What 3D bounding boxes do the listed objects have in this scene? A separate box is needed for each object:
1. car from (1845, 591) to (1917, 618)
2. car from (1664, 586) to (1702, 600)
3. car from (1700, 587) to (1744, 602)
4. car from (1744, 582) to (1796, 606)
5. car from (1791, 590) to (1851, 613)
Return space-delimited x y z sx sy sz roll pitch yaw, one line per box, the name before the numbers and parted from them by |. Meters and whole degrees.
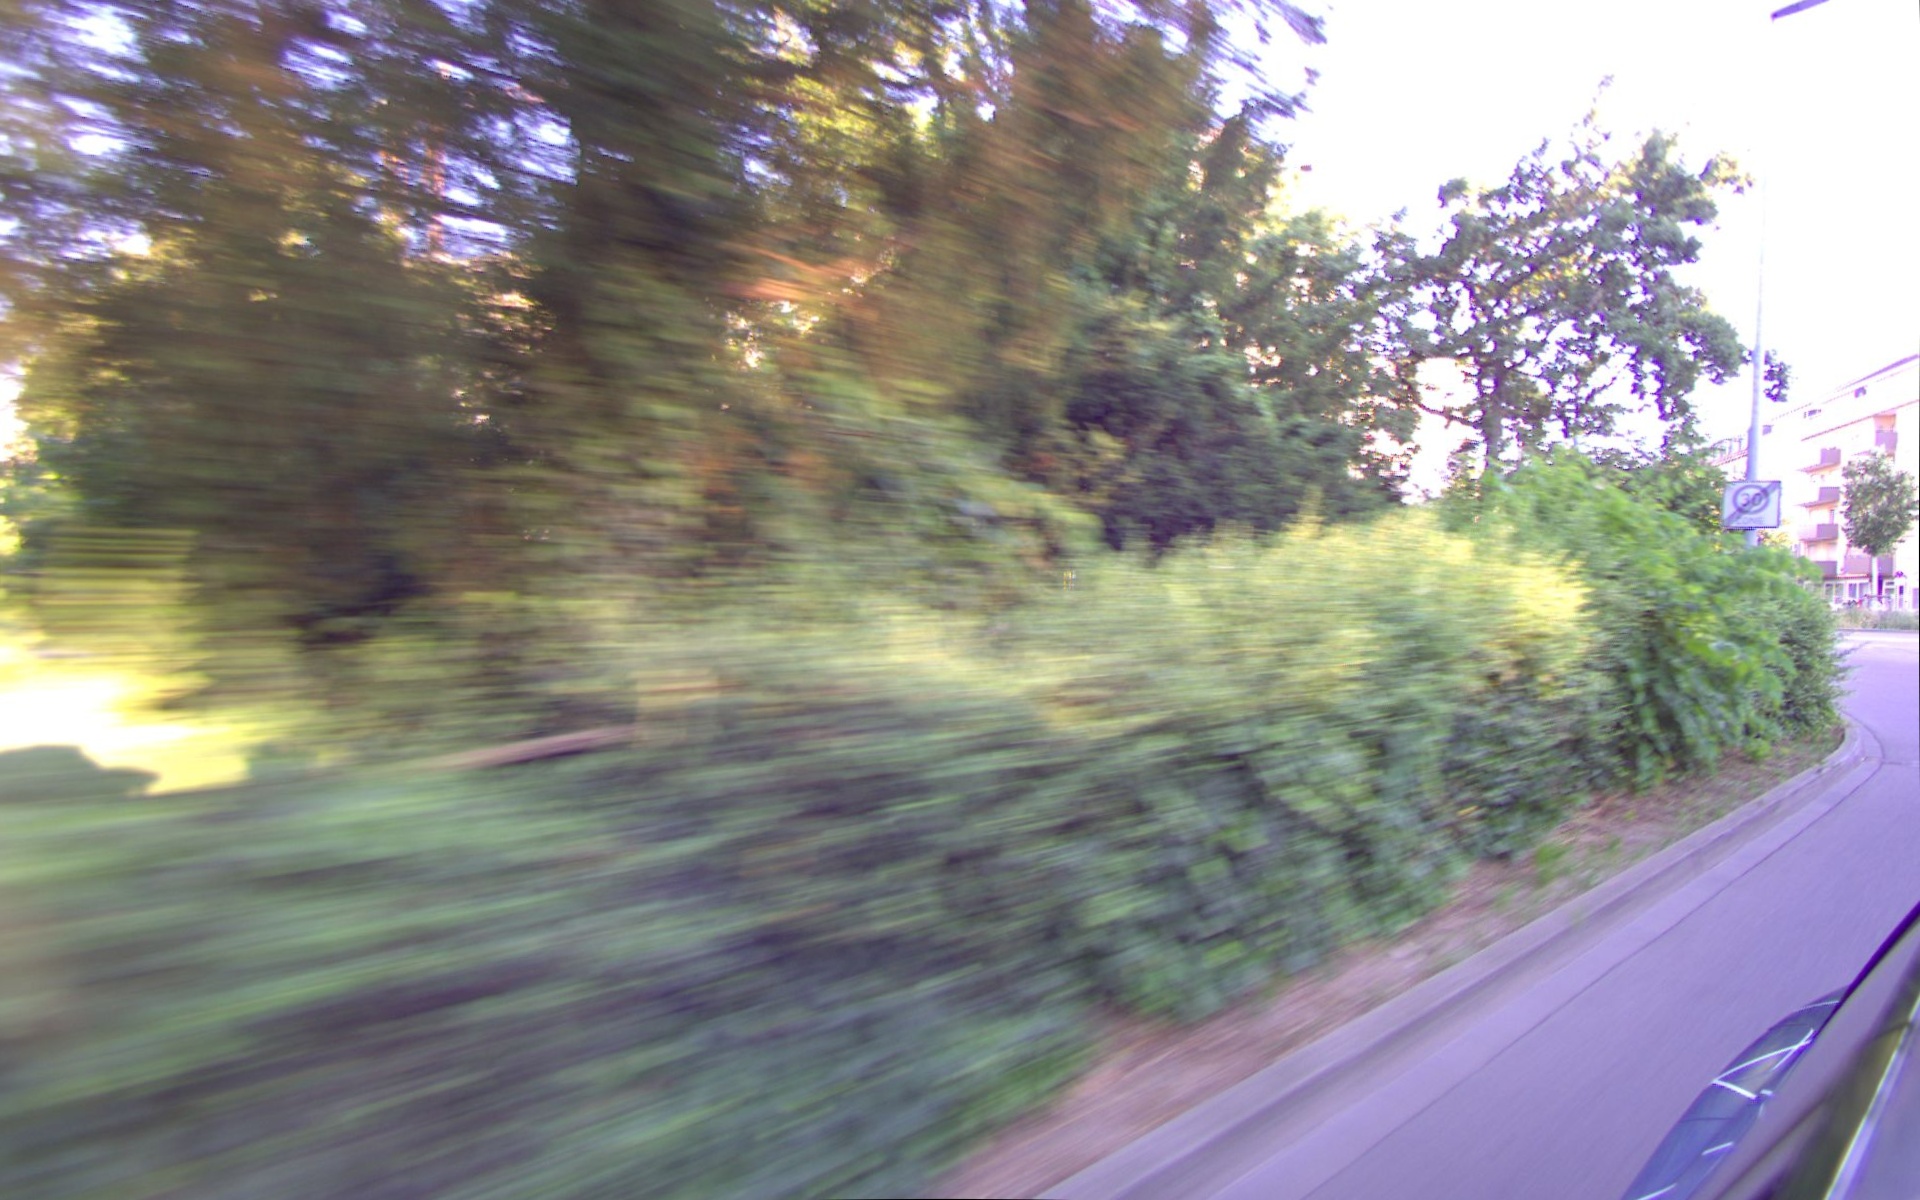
car | 57.853 0.247 63.660 1.976 1.504 3.973 1 2 21
car | 70.371 -0.682 98.556 1.976 1.259 3.973 1 2 21
car | 66.988 -0.516 89.042 1.976 1.259 3.973 1 2 21
car | 63.682 -0.521 79.618 1.976 1.771 3.973 1 2 21
car | 60.955 0.057 71.722 1.976 1.504 3.973 1 2 21
